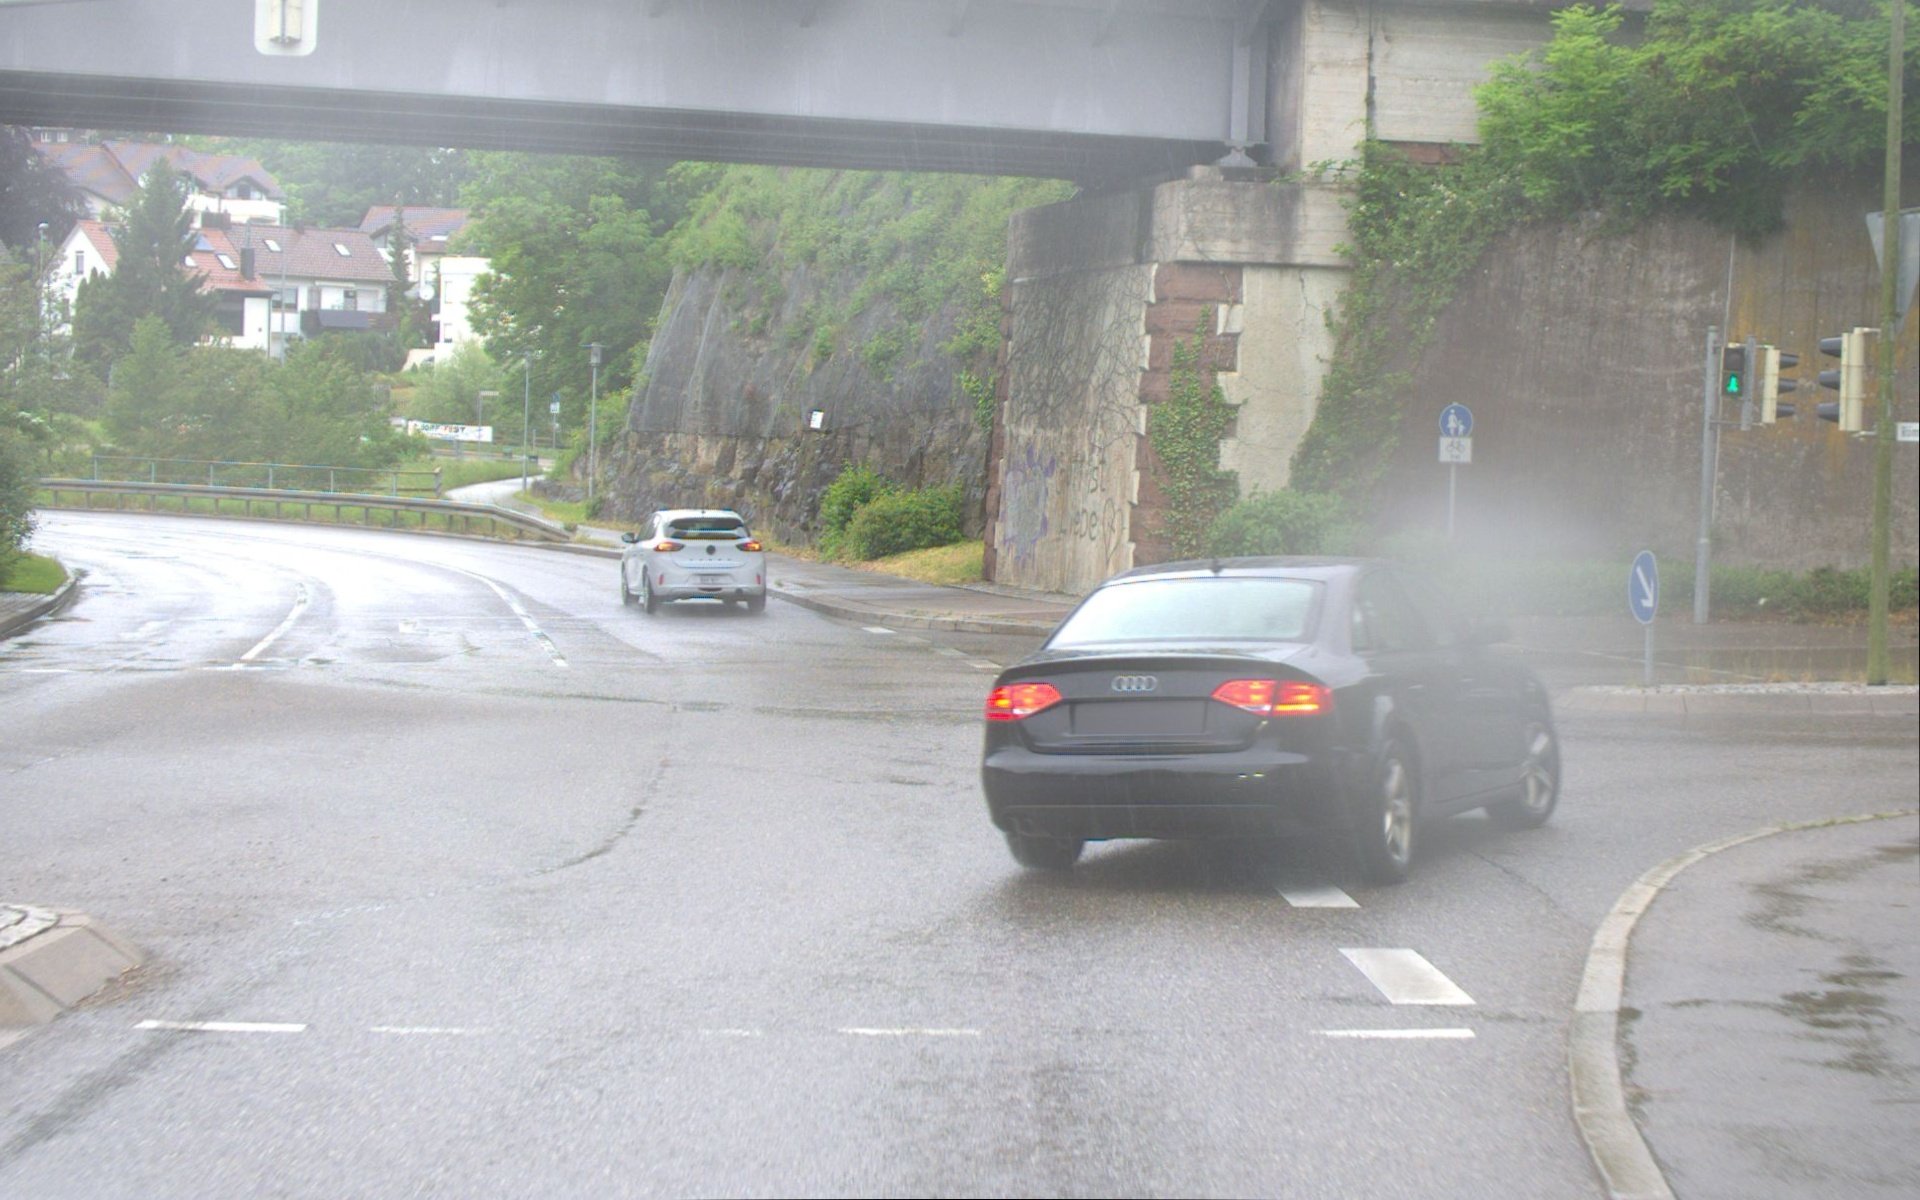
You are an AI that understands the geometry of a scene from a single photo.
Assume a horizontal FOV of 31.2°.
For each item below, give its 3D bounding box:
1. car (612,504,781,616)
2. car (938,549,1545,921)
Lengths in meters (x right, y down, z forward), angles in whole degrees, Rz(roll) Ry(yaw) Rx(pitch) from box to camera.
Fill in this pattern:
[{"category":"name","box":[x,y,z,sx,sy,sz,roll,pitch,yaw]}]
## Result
[{"category":"car","box":[-3.867,-0.597,49.898,1.993,1.557,4.001,0,1,-11]},{"category":"car","box":[1.468,0.509,16.115,1.894,1.487,4.203,0,1,18]}]
